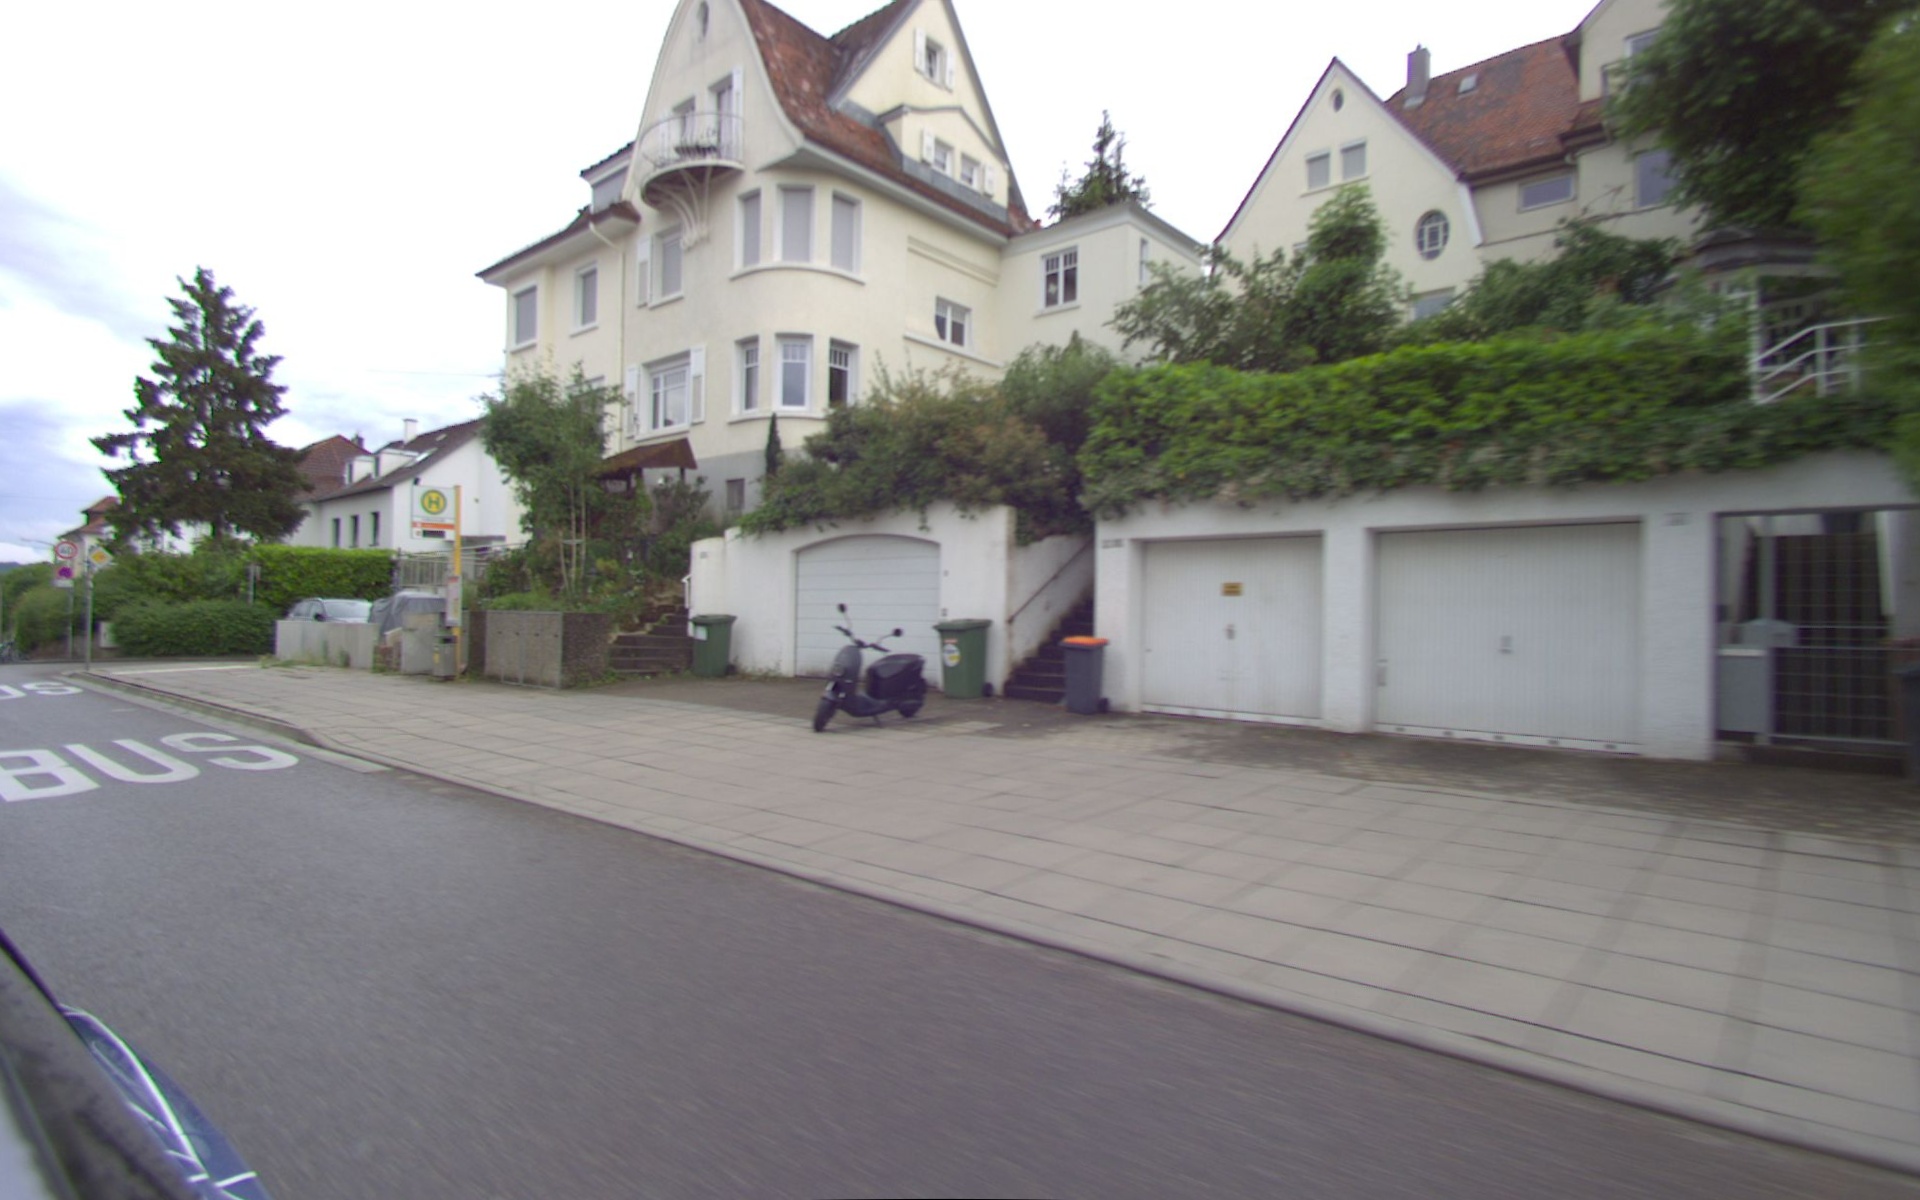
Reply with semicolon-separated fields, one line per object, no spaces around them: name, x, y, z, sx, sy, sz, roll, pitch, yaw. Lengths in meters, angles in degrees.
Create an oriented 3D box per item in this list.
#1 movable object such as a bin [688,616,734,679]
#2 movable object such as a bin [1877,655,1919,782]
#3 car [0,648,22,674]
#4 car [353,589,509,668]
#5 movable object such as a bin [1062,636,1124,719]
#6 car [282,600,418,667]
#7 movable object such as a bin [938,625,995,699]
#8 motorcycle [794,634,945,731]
movable object such as a bin;-4.282;0.810;17.424;0.513;1.066;0.567;-3;-2;41
movable object such as a bin;7.134;0.854;7.266;0.481;0.896;0.622;-1;-2;-3
car;-58.618;3.767;61.898;3.436;1.502;1.573;-4;-2;42
car;-12.520;0.693;23.854;3.993;1.709;1.749;-3;-2;37
movable object such as a bin;1.618;0.935;12.322;0.512;0.961;0.568;-3;-2;37
car;-16.159;0.900;26.746;3.993;1.630;1.749;-3;-2;37
movable object such as a bin;0.094;0.831;13.625;0.512;0.961;0.568;-3;-2;37
motorcycle;-0.982;0.889;11.405;0.603;0.910;1.776;-1;1;41
